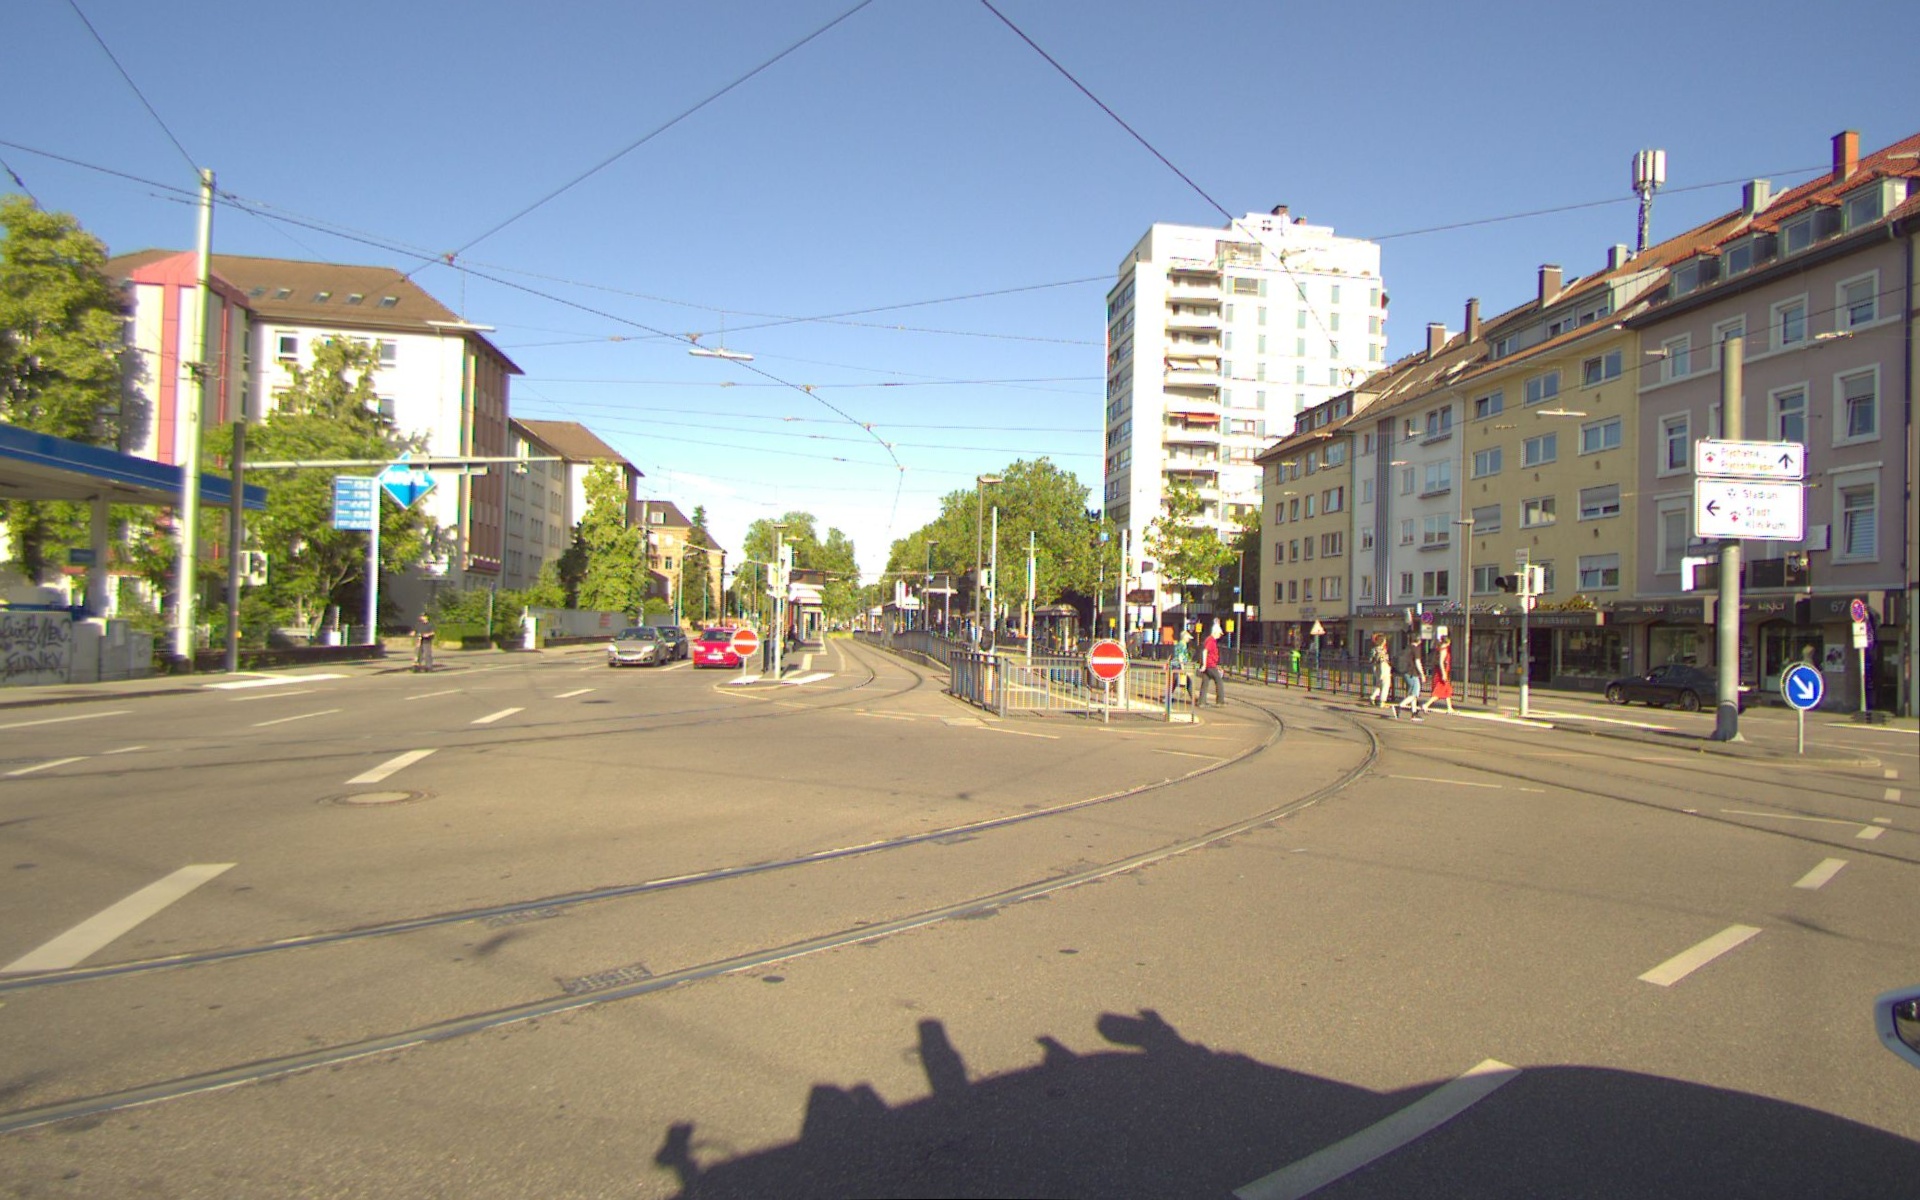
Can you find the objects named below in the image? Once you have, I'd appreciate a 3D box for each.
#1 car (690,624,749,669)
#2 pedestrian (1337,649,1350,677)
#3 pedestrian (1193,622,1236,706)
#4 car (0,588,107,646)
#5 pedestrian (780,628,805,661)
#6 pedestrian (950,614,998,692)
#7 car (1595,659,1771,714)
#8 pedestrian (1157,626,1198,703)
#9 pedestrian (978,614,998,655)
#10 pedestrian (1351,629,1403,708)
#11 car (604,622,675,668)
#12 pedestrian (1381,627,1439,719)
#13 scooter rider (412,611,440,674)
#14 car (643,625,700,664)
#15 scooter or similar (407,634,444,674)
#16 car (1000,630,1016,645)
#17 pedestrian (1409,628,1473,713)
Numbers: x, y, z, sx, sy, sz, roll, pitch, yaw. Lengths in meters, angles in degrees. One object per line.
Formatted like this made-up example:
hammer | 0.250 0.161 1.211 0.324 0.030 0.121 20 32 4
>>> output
car | -8.830 1.719 37.193 1.686 1.505 4.214 3 -2 -8
pedestrian | 22.697 3.728 59.423 0.498 1.582 0.465 3 -2 -5
pedestrian | 5.486 1.369 21.667 0.831 1.746 0.826 2 -2 14
car | -26.164 0.470 27.929 1.686 1.505 4.214 3 -2 -8
pedestrian | -7.531 2.001 45.144 1.027 1.439 0.577 3 -2 -13
pedestrian | 0.341 1.235 23.413 0.808 1.755 0.788 1 -2 25
car | 22.769 2.684 31.879 1.713 1.458 4.647 3 -2 -10
pedestrian | 4.864 1.442 22.497 0.792 1.652 0.866 2 -2 9
pedestrian | 1.109 1.361 39.973 0.584 1.588 0.732 2 -2 13
pedestrian | 9.601 1.562 23.144 0.808 1.755 0.788 2 -2 -5
car | -11.819 1.660 37.248 1.710 1.539 3.997 3 -2 -7
pedestrian | 8.842 1.425 19.746 0.789 1.755 0.651 3 -2 -21
scooter rider | -16.630 1.315 31.304 0.456 1.925 0.691 2 -2 -7
car | -12.594 1.949 44.021 1.710 1.539 3.997 3 -2 -7
scooter or similar | -16.652 1.684 31.302 0.456 1.198 1.475 3 -2 -7
car | 7.007 5.461 146.114 1.961 2.040 4.000 3 -2 -2
pedestrian | 10.263 1.496 21.444 0.889 1.755 0.839 3 -2 -11
